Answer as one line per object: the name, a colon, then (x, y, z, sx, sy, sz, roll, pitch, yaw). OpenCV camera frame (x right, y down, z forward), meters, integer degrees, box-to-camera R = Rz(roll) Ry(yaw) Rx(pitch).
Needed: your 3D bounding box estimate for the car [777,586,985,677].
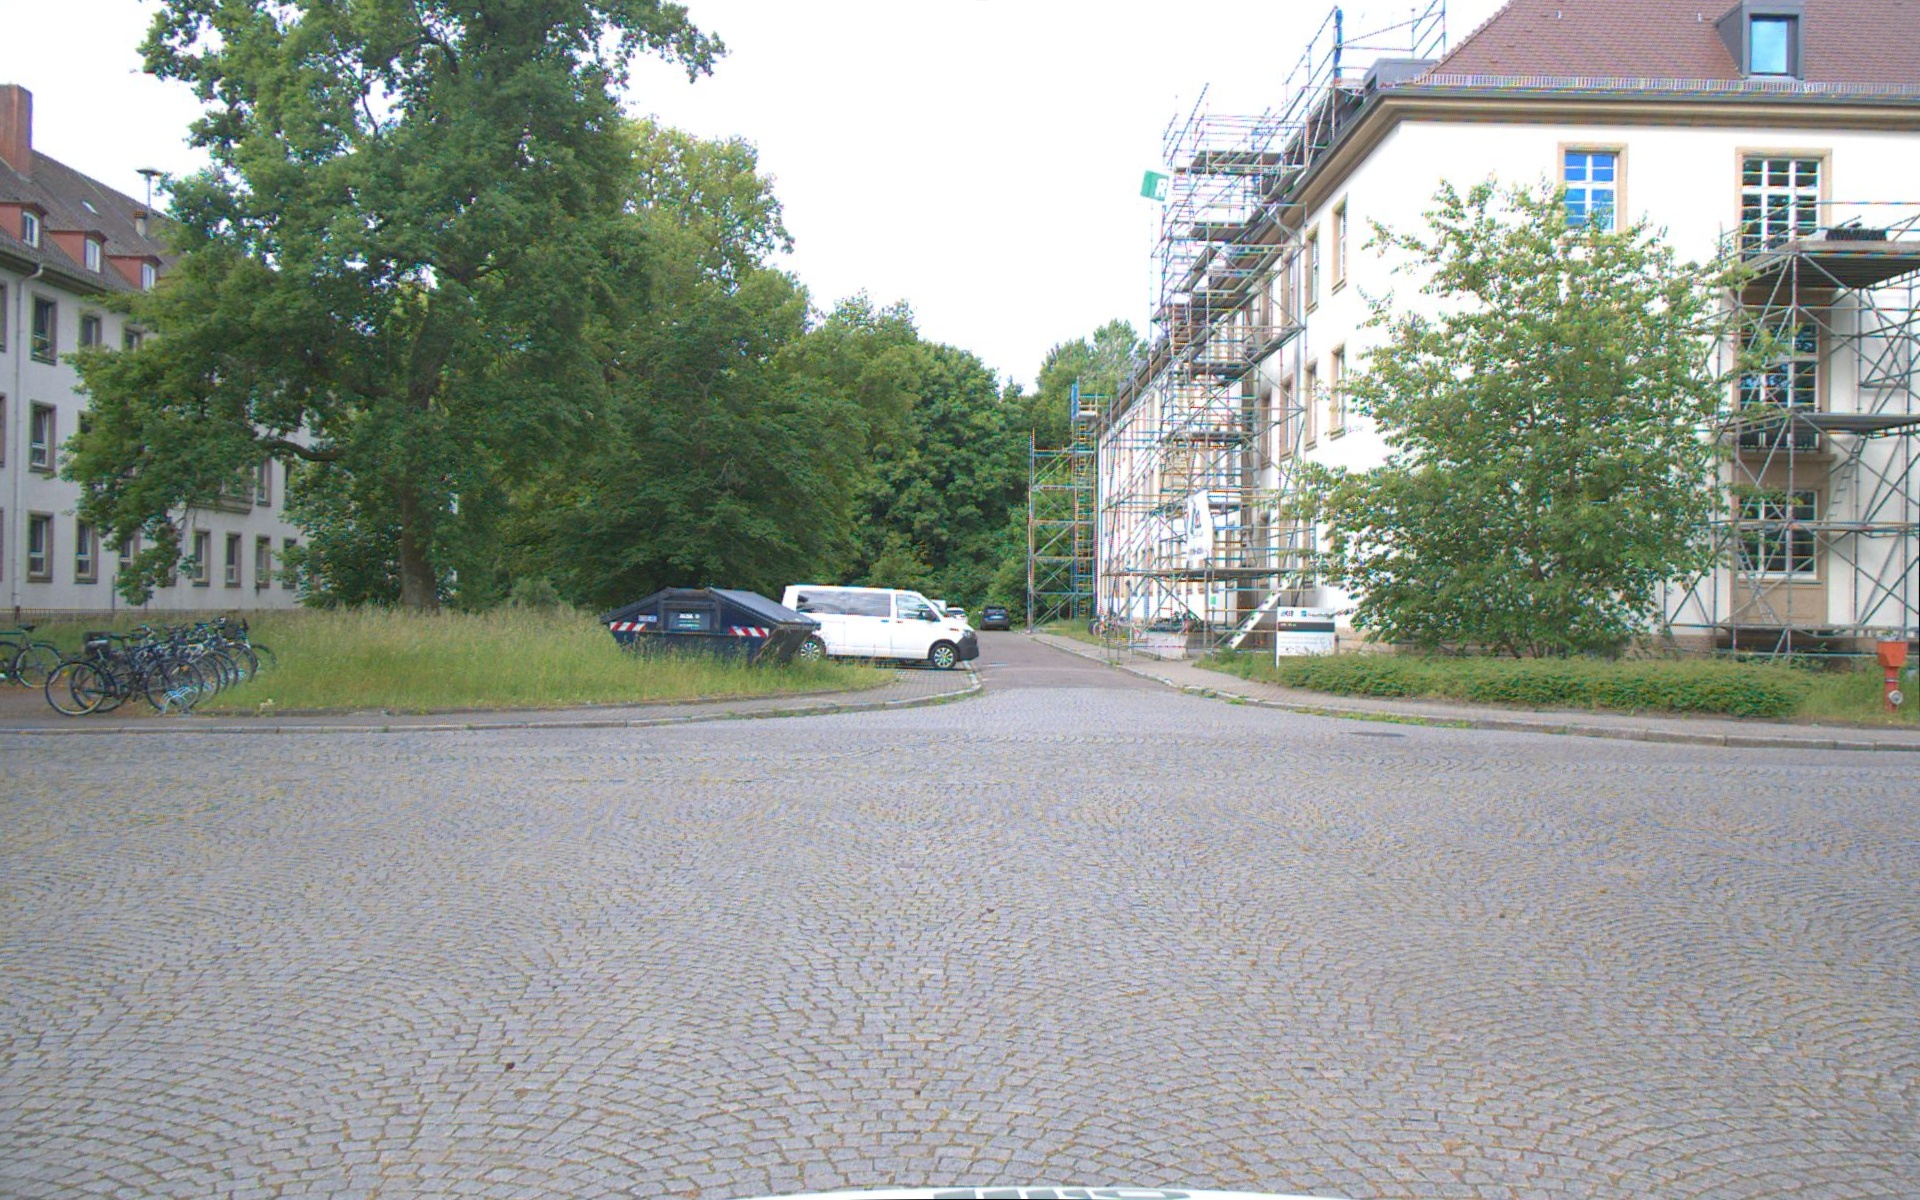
car: (-1.993, 0.791, 42.008, 5.130, 2.206, 1.999, 1, -1, -3)

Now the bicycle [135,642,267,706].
bicycle: (-12.359, 1.200, 26.989, 1.931, 1.007, 0.622, 1, -1, -24)

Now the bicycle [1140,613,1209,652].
bicycle: (7.149, 1.076, 55.128, 2.194, 1.276, 0.778, 1, -1, 1)

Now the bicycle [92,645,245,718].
bicycle: (-11.313, 1.150, 23.697, 1.931, 1.007, 0.622, 1, -1, -24)

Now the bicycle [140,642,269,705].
bicycle: (-12.561, 1.208, 27.555, 1.931, 1.007, 0.622, 1, -1, -24)

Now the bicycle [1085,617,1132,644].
bicycle: (7.112, 1.464, 79.019, 2.194, 1.276, 0.627, 1, -1, 1)

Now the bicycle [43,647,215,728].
bicycle: (-10.764, 1.117, 21.486, 1.930, 1.007, 0.623, 1, -1, -22)

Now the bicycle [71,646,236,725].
bicycle: (-10.747, 1.127, 22.110, 1.931, 1.007, 0.622, 1, -1, -24)

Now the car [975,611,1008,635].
car: (2.038, 1.516, 108.364, 1.912, 1.548, 3.998, 1, -1, -2)

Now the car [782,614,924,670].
car: (-2.875, 1.120, 44.581, 3.714, 1.420, 1.998, 1, -1, -4)

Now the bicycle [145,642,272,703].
bicycle: (-12.822, 1.219, 28.271, 1.931, 1.007, 0.622, 1, -1, -24)

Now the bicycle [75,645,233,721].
bicycle: (-11.208, 1.141, 23.074, 1.931, 1.007, 0.622, 1, -1, -24)

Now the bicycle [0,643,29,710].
bicycle: (-15.369, 1.162, 25.217, 1.923, 1.007, 0.625, 1, -1, -12)

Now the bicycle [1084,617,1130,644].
bicycle: (7.106, 1.482, 80.088, 2.194, 1.276, 0.698, 1, -1, 1)

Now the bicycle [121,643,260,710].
bicycle: (-12.010, 1.183, 25.869, 1.931, 1.007, 0.622, 1, -1, -24)

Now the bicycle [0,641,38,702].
bicycle: (-16.562, 1.195, 27.631, 1.927, 1.007, 0.624, 1, -1, -18)

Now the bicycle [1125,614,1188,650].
bicycle: (7.039, 1.145, 59.381, 2.194, 1.276, 0.778, 1, -1, 1)

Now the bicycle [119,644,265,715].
bicycle: (-11.378, 1.164, 24.572, 1.931, 1.007, 0.622, 1, -1, -24)

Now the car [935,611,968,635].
car: (-0.582, 1.502, 108.022, 2.076, 1.548, 3.998, 1, -1, -2)

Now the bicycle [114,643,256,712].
bicycle: (-11.827, 1.174, 25.290, 1.931, 1.007, 0.622, 1, -1, -24)

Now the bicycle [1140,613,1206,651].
bicycle: (7.330, 1.108, 57.042, 2.194, 1.276, 0.778, 1, -1, 1)

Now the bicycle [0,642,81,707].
bicycle: (-15.105, 1.178, 26.230, 1.923, 1.007, 0.625, 1, -1, -12)

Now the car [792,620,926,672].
car: (-2.856, 1.291, 47.112, 3.713, 1.420, 1.999, 1, -1, -2)
